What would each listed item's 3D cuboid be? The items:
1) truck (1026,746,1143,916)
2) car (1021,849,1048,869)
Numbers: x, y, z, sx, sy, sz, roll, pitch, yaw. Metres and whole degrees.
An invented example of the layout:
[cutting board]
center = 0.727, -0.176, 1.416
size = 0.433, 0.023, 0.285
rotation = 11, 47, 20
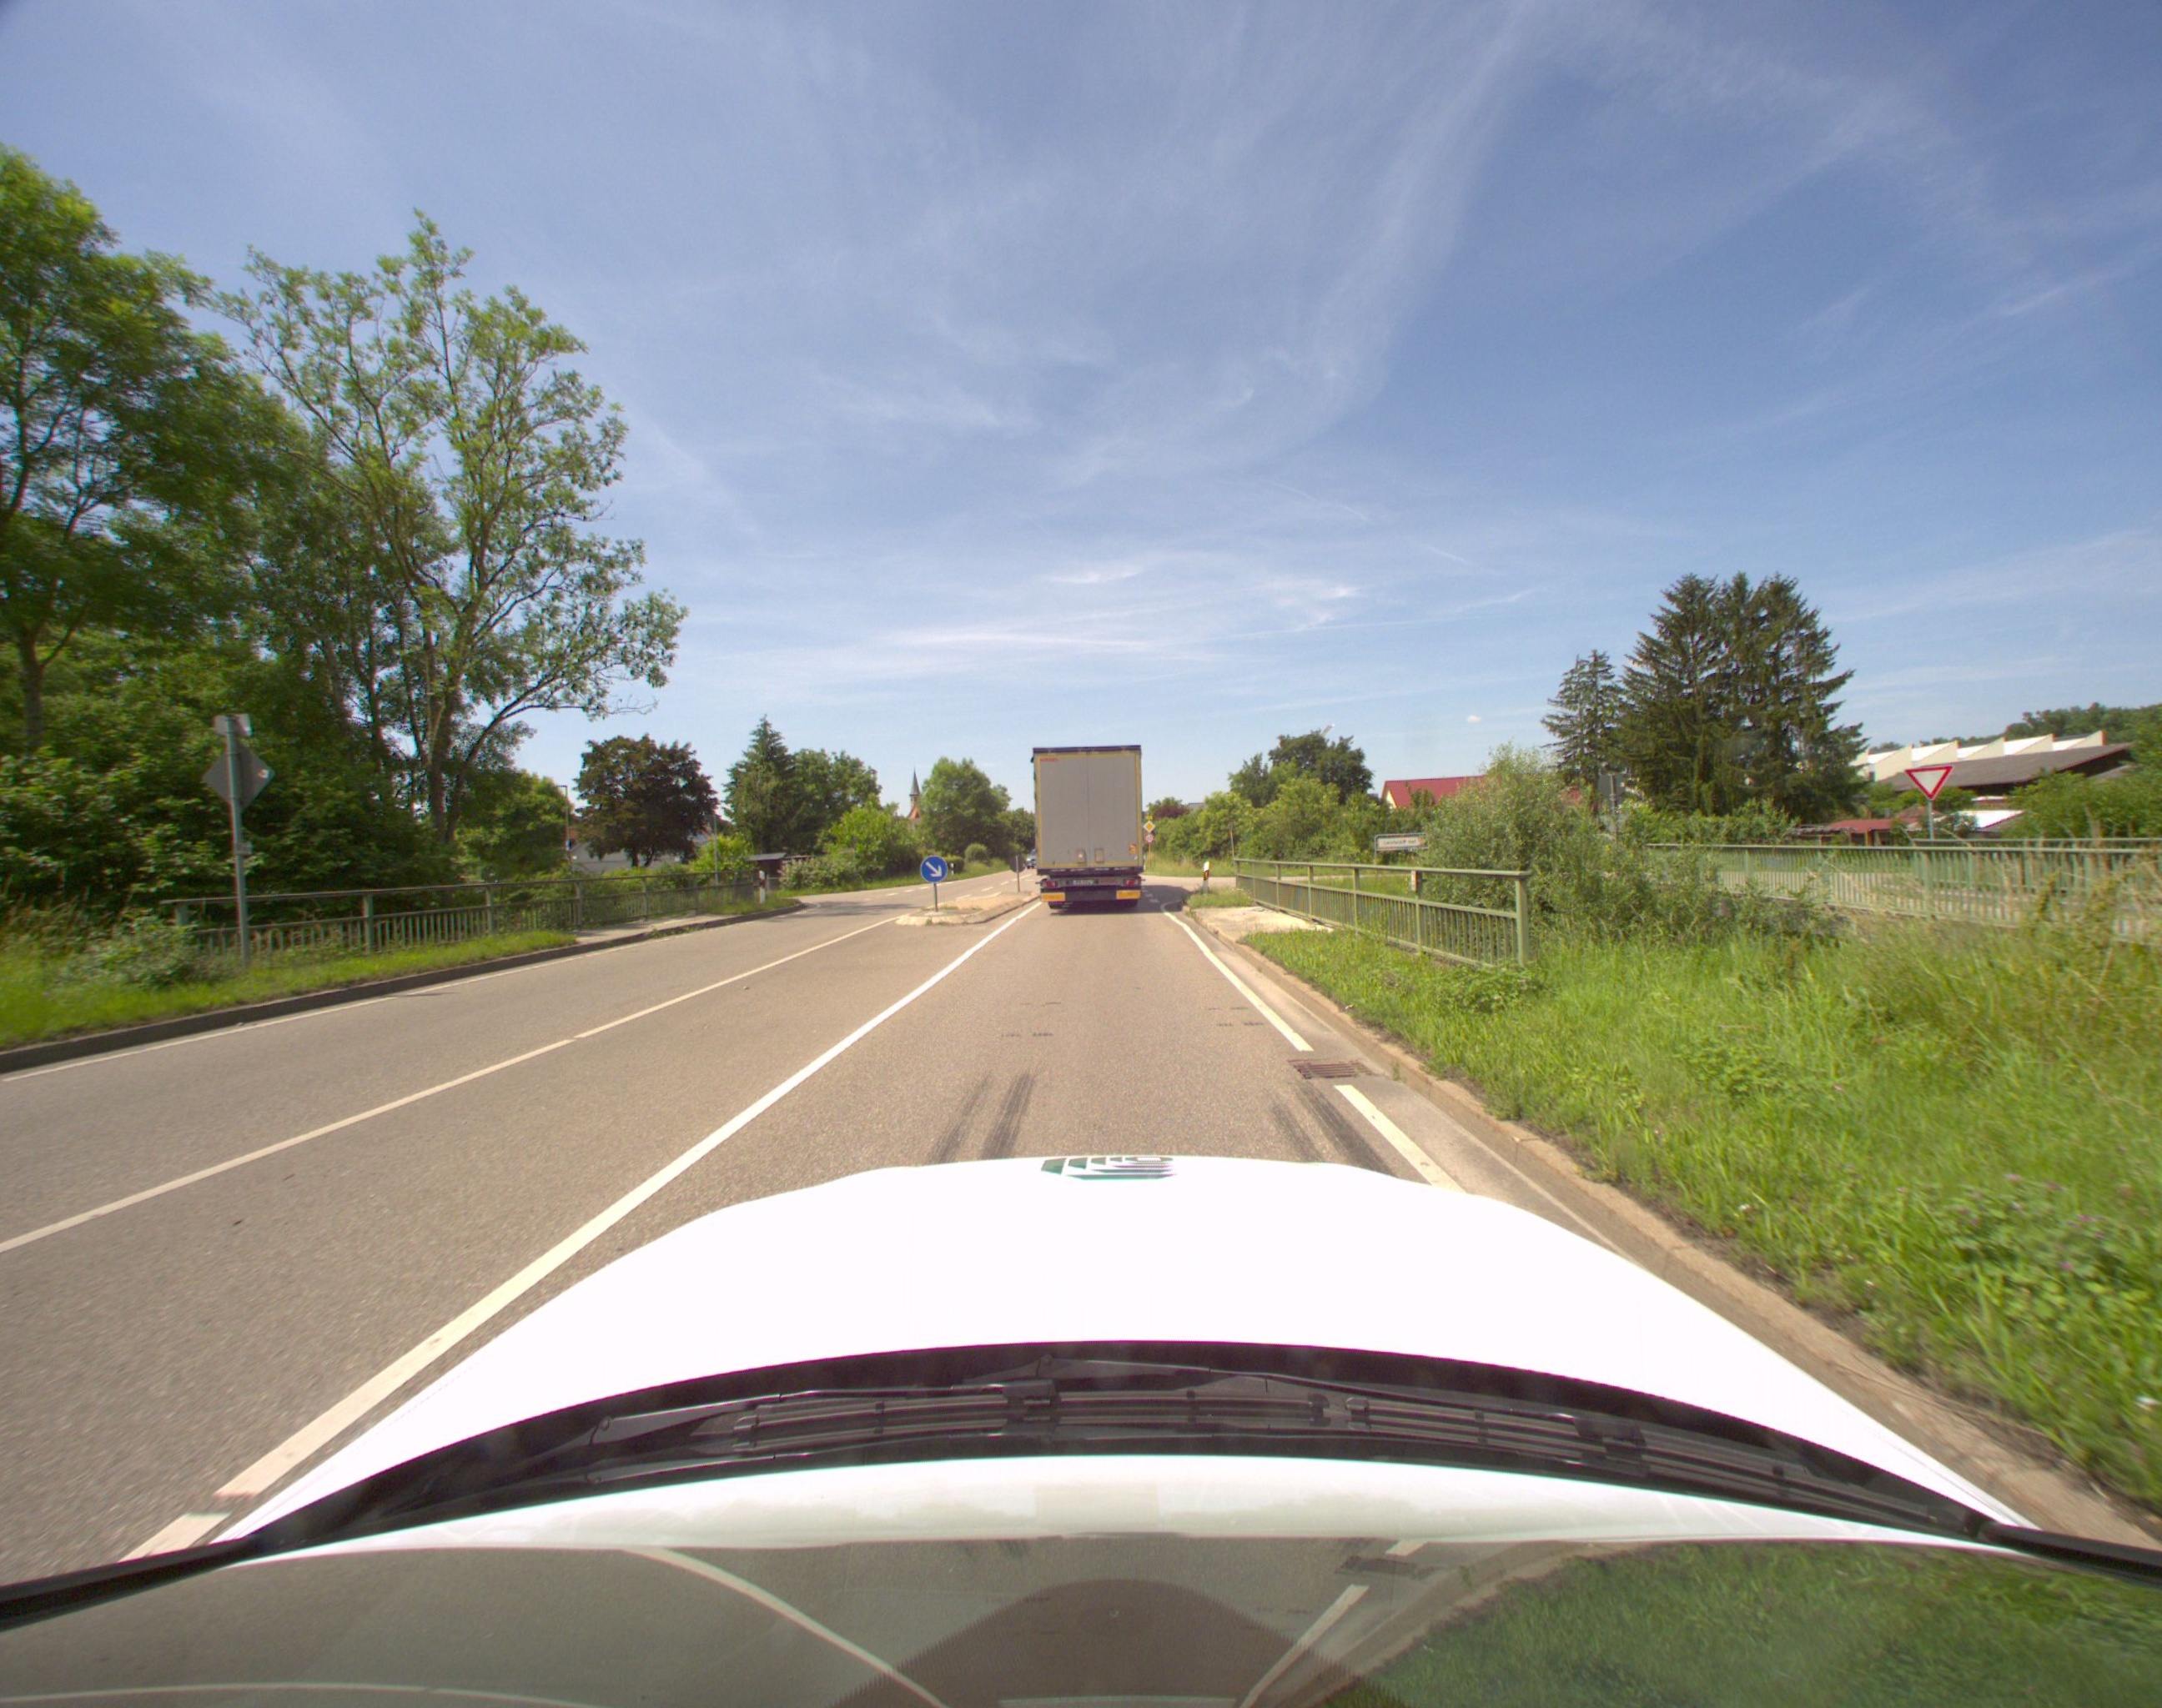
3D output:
[truck]
center = 0.094, -0.582, 23.492
size = 2.639, 3.917, 8.824
rotation = -1, 0, 0
[car]
center = -4.000, 0.431, 71.142
size = 1.941, 1.654, 4.432
rotation = -2, 0, 1
